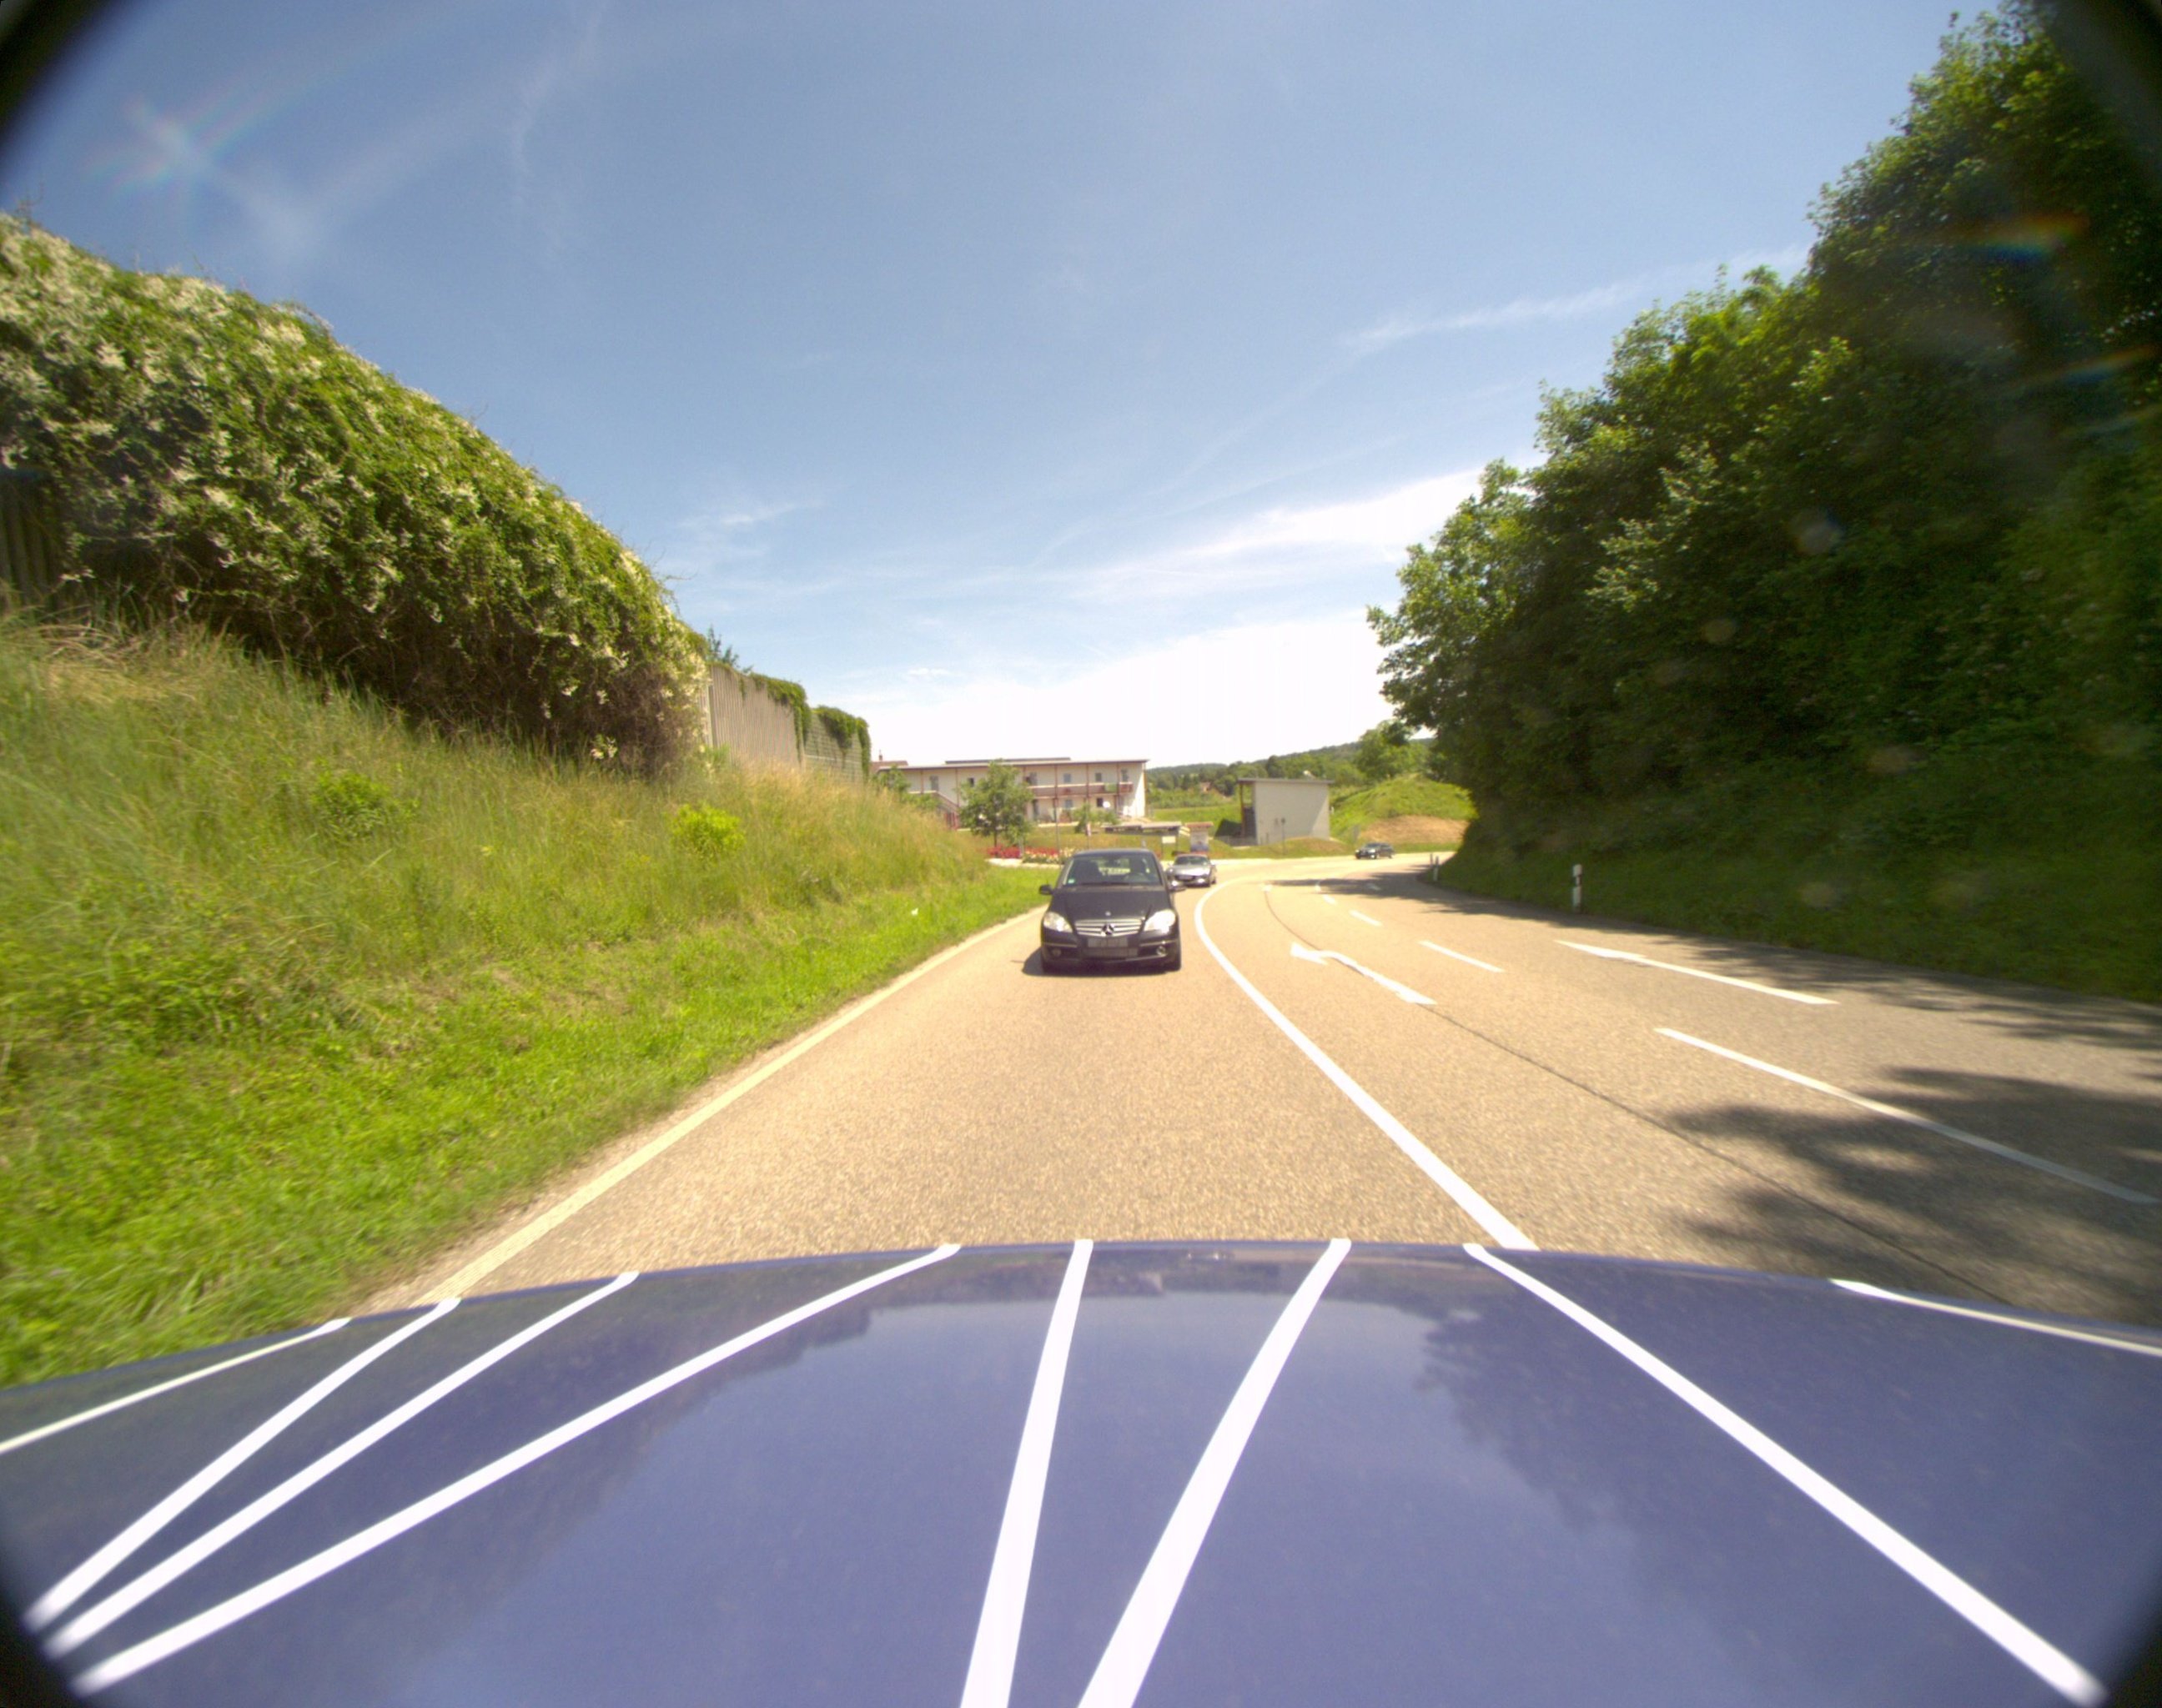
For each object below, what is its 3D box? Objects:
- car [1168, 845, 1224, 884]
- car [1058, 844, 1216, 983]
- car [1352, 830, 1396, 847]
[{"bbox_3d":[4.559,0.365,29.780,1.645,1.315,3.441,-2,2,16],"label":"car"},{"bbox_3d":[0.741,0.710,10.978,1.795,1.570,3.800,-3,0,2],"label":"car"},{"bbox_3d":[24.210,-1.300,62.691,4.153,1.281,1.751,-4,3,-44],"label":"car"}]
